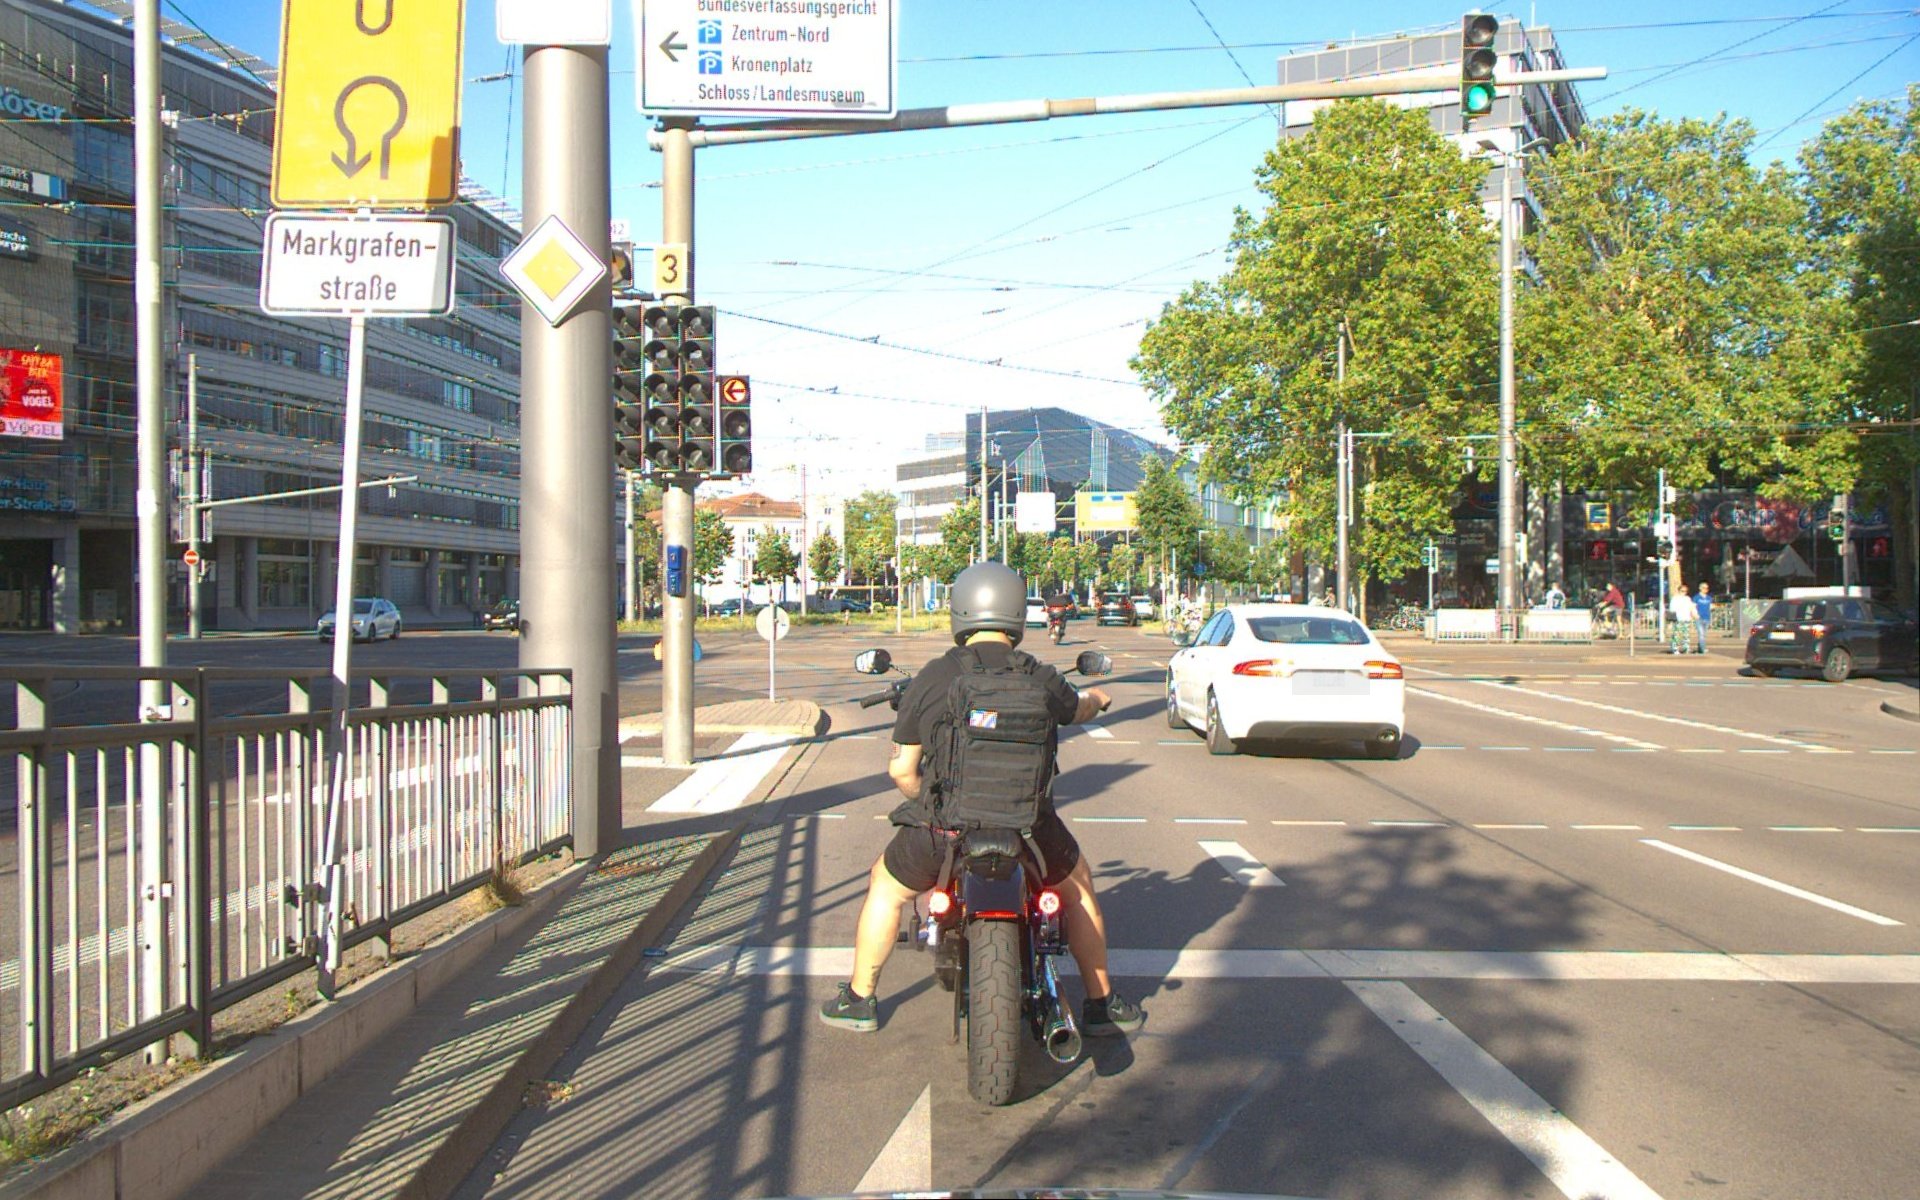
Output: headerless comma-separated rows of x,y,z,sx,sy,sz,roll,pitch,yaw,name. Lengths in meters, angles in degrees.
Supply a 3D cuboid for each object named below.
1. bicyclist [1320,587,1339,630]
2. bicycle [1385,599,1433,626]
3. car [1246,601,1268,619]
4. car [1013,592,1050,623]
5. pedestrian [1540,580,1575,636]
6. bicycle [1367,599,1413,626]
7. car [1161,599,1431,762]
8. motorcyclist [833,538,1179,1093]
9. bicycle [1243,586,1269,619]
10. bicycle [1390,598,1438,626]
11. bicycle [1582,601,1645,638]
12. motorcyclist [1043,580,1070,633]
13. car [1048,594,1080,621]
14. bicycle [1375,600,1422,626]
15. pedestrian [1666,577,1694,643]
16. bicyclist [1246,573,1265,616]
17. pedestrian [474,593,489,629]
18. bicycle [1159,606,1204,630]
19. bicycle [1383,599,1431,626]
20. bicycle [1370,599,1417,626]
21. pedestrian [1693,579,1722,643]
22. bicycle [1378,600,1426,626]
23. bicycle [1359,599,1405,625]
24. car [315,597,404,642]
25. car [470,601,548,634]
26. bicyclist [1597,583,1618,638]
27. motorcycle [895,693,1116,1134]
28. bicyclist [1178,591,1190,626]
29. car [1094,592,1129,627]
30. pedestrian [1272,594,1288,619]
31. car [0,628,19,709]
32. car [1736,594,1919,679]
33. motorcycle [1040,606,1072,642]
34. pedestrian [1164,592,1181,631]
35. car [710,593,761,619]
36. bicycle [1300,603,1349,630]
14.613,0.344,65.375,0.673,1.702,0.541,0,-1,18,bicyclist
18.115,0.493,66.770,1.842,1.065,0.360,1,-1,-2,bicycle
29.537,0.965,164.450,1.765,1.708,4.043,1,-1,15,car
3.550,0.393,81.505,1.695,1.482,4.420,1,-1,4,car
18.763,0.258,51.947,0.816,1.734,0.759,1,-1,-1,pedestrian
18.122,0.527,69.760,1.842,1.064,0.360,1,0,-2,bicycle
3.312,0.728,17.197,1.767,1.455,4.451,0,0,-2,car
0.130,0.627,5.287,1.009,1.621,0.873,0,0,-1,motorcyclist
12.732,0.116,71.230,0.710,1.391,2.918,1,-1,3,bicycle
18.114,0.473,65.988,1.842,1.065,0.360,1,-1,-2,bicycle
22.491,0.682,56.913,2.001,1.235,0.421,1,-1,-1,bicycle
2.953,0.199,50.660,0.780,1.607,0.529,1,-1,-2,motorcyclist
7.016,0.522,111.372,1.765,1.708,4.044,1,-1,9,car
18.226,0.538,68.777,1.842,1.065,0.360,1,-1,-2,bicycle
17.142,0.233,39.386,0.554,1.559,0.702,1,-1,19,pedestrian
12.732,-0.232,71.320,0.682,1.840,0.729,1,-1,3,bicyclist
-27.798,0.651,96.092,0.617,2.049,0.754,1,-1,-1,pedestrian
9.000,0.717,67.188,1.792,0.942,0.357,1,-1,-9,bicycle
18.266,0.516,67.589,1.842,1.065,0.360,1,-1,-2,bicycle
18.146,0.529,69.260,1.842,1.064,0.360,1,0,-2,bicycle
17.791,0.268,39.377,0.554,1.505,0.702,1,-1,20,pedestrian
18.207,0.532,68.144,1.842,1.064,0.360,1,0,-2,bicycle
18.094,0.527,70.910,1.842,1.064,0.360,1,0,-2,bicycle
-20.895,0.651,57.712,1.789,1.455,4.525,0,0,-5,car
-20.704,0.827,76.122,1.786,1.455,4.244,1,-1,11,car
22.283,0.364,56.920,0.572,1.870,0.402,1,-1,-1,bicyclist
0.108,0.920,5.635,0.588,1.054,2.233,1,0,-1,motorcycle
9.093,0.352,67.221,0.374,1.397,0.344,1,-1,-9,bicyclist
8.080,0.461,88.434,1.695,1.762,4.614,1,1,3,car
17.582,0.365,90.981,0.802,1.337,0.638,1,-1,8,pedestrian
-14.501,0.904,22.428,2.835,1.081,1.235,1,-1,-22,car
16.504,0.648,30.742,3.980,1.475,1.722,1,0,-27,car
2.948,0.734,50.920,0.787,1.069,2.375,1,-1,-1,motorcycle
8.865,0.488,68.862,0.576,1.584,0.488,1,-1,-9,pedestrian
-13.535,0.373,99.941,1.712,1.550,4.003,1,-1,13,car
14.423,0.667,65.435,1.831,1.062,0.537,0,-1,18,bicycle
